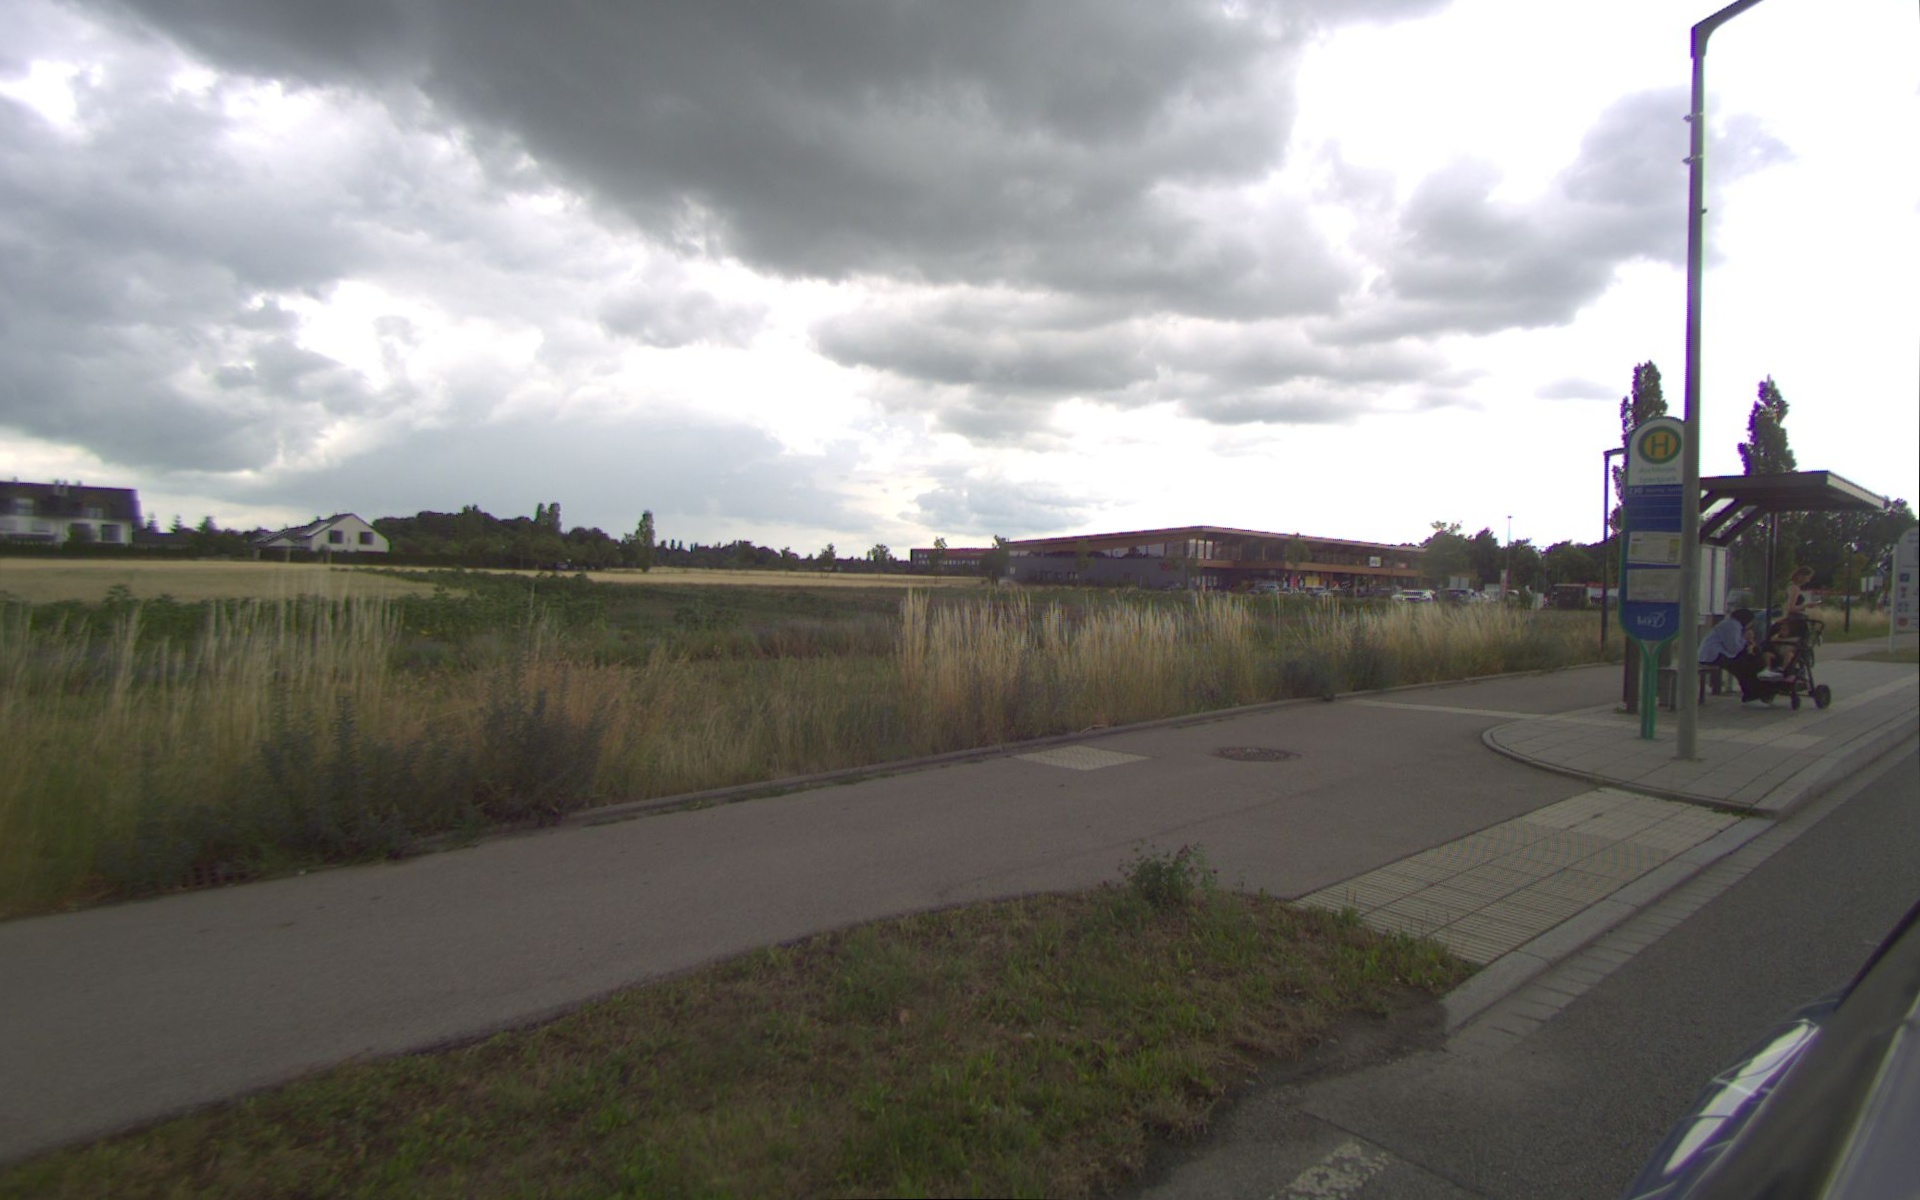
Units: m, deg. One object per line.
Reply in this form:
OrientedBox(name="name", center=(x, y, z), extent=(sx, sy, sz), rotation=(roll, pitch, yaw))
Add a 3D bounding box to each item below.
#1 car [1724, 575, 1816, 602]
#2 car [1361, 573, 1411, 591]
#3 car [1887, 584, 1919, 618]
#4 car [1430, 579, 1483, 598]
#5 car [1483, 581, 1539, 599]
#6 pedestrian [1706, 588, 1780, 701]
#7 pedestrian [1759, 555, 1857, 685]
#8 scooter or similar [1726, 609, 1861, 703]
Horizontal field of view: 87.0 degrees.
OrientedBox(name="car", center=(63.749, -0.874, 79.716), extent=(5.509, 2.039, 1.969), rotation=(0, 1, 43))
OrientedBox(name="car", center=(47.871, -2.007, 113.824), extent=(4.839, 2.039, 1.970), rotation=(0, 1, 42))
OrientedBox(name="car", center=(59.771, 0.061, 61.187), extent=(1.964, 2.039, 5.311), rotation=(-1, 1, -40))
OrientedBox(name="car", center=(54.550, -1.227, 111.239), extent=(4.839, 2.039, 1.970), rotation=(0, 1, 42))
OrientedBox(name="car", center=(65.827, -1.171, 120.979), extent=(5.509, 2.039, 1.969), rotation=(0, 1, 43))
OrientedBox(name="pedestrian", center=(9.461, 0.522, 12.248), extent=(0.662, 1.319, 0.498), rotation=(0, 0, 35))
OrientedBox(name="pedestrian", center=(12.218, 0.271, 14.592), extent=(0.762, 1.815, 0.785), rotation=(0, 0, -20))
OrientedBox(name="scooter or similar", center=(10.005, 0.659, 12.171), extent=(1.039, 1.075, 0.709), rotation=(0, 0, -4))
